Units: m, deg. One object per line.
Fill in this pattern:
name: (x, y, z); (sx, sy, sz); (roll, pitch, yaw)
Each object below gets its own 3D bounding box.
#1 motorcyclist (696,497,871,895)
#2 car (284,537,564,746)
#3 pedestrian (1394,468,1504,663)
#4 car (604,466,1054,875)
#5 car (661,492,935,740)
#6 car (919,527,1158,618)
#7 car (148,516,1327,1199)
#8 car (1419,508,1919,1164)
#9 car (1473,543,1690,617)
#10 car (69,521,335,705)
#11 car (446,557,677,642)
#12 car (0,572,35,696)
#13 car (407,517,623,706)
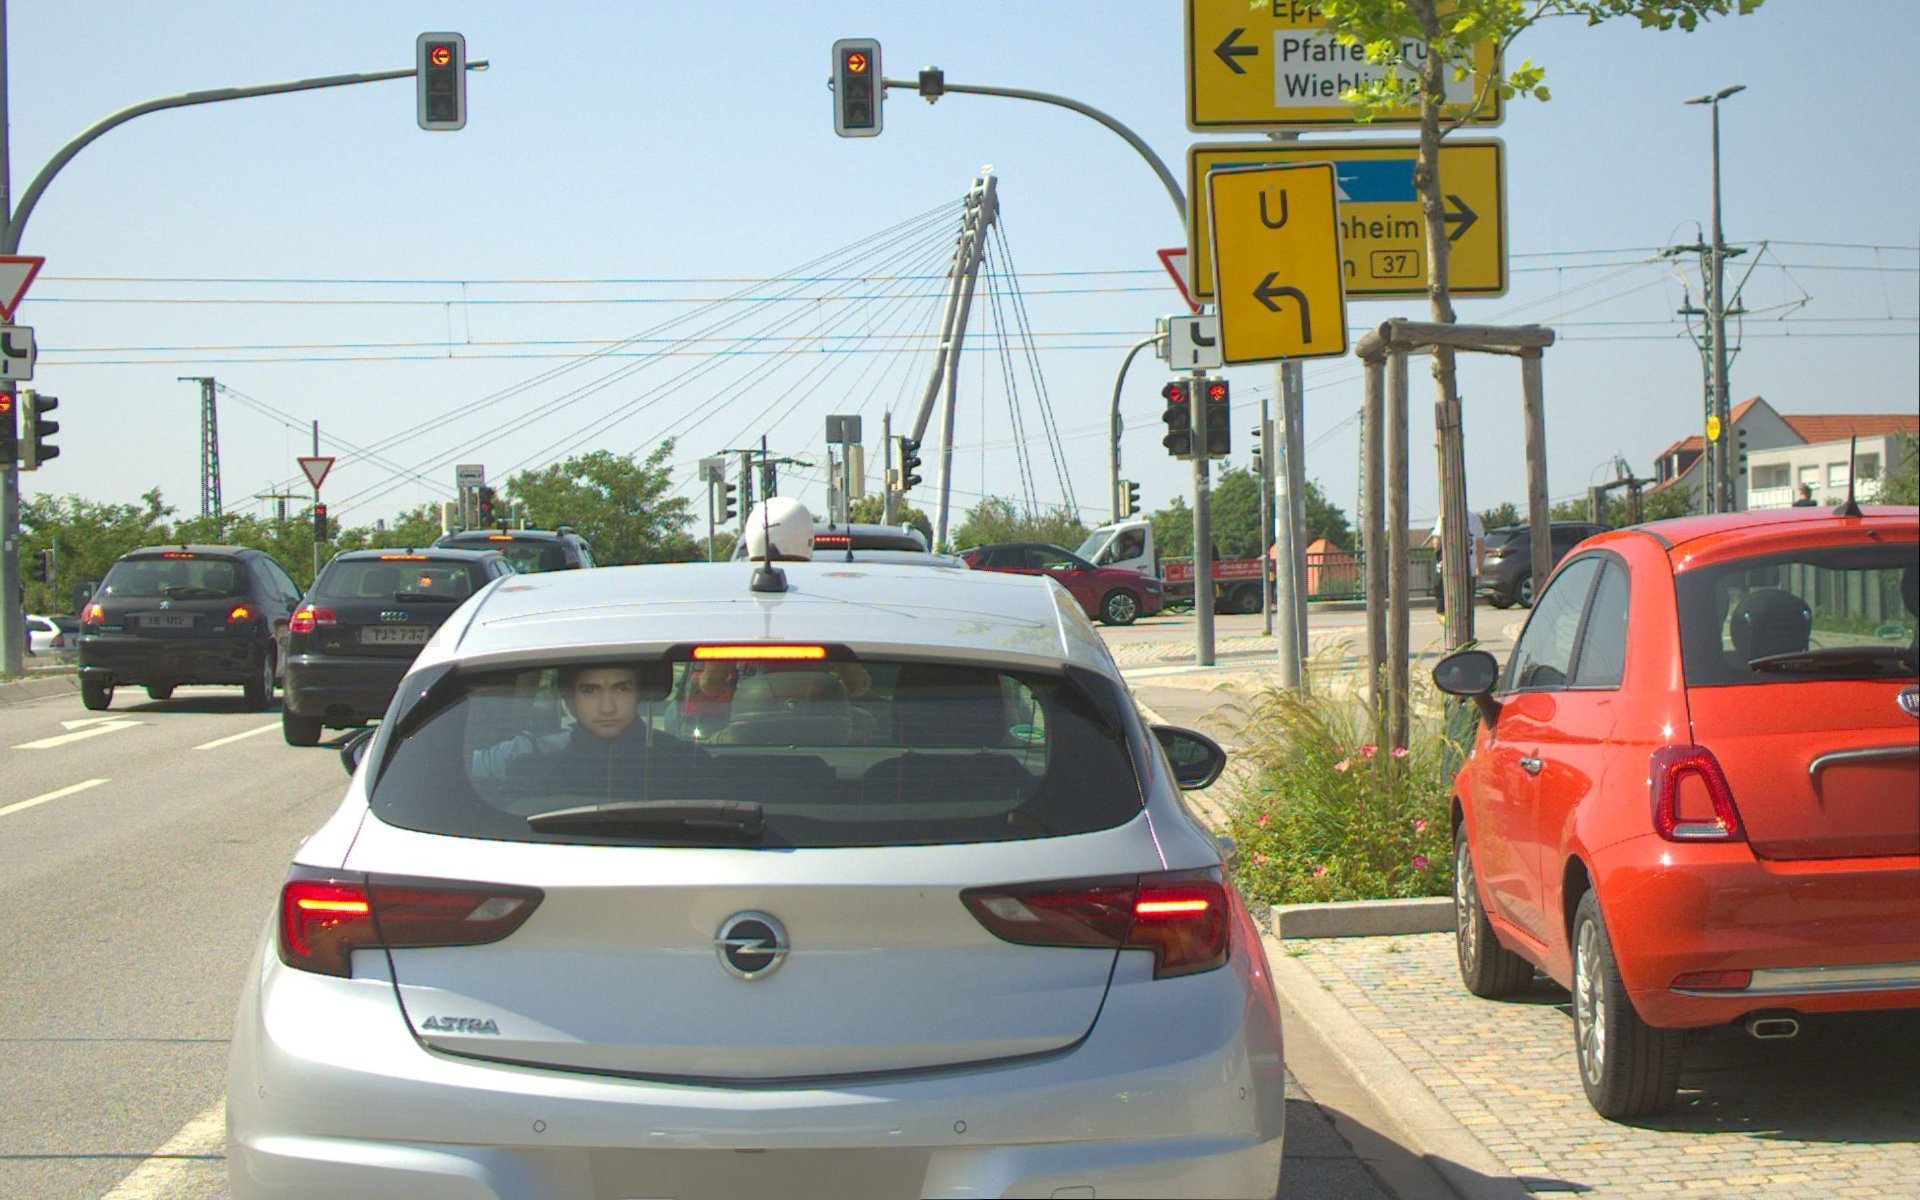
motorcyclist: (-0.626, 0.334, 12.368); (0.581, 1.384, 0.707); (1, 0, -1)
car: (-3.930, 0.269, 25.724); (1.575, 1.429, 3.786); (1, 1, -1)
pedestrian: (4.649, -0.330, 32.688); (0.795, 1.830, 0.649); (-1, 1, -39)
car: (-0.614, 0.259, 17.638); (1.993, 1.814, 4.402); (1, 2, -1)
car: (-1.050, 0.044, 23.945); (1.724, 1.558, 4.000); (1, 2, 0)
car: (1.407, -0.508, 62.774); (4.274, 1.626, 1.756); (0, 0, -1)
car: (-0.436, 0.601, 7.132); (1.742, 1.473, 4.001); (1, 1, -3)
car: (2.339, 0.511, 9.738); (1.610, 1.491, 3.352); (-2, 1, 1)
car: (11.716, -0.377, 64.859); (3.715, 1.379, 1.586); (0, 0, -8)
car: (-6.780, 0.090, 31.086); (1.597, 1.542, 3.762); (1, 1, -1)
car: (-7.304, -0.015, 63.344); (3.987, 1.477, 2.000); (1, 1, 1)
car: (-20.529, 0.629, 66.489); (5.005, 2.368, 1.782); (0, 0, 20)
car: (-4.025, 0.079, 31.587); (1.649, 1.610, 3.821); (1, 1, -3)
